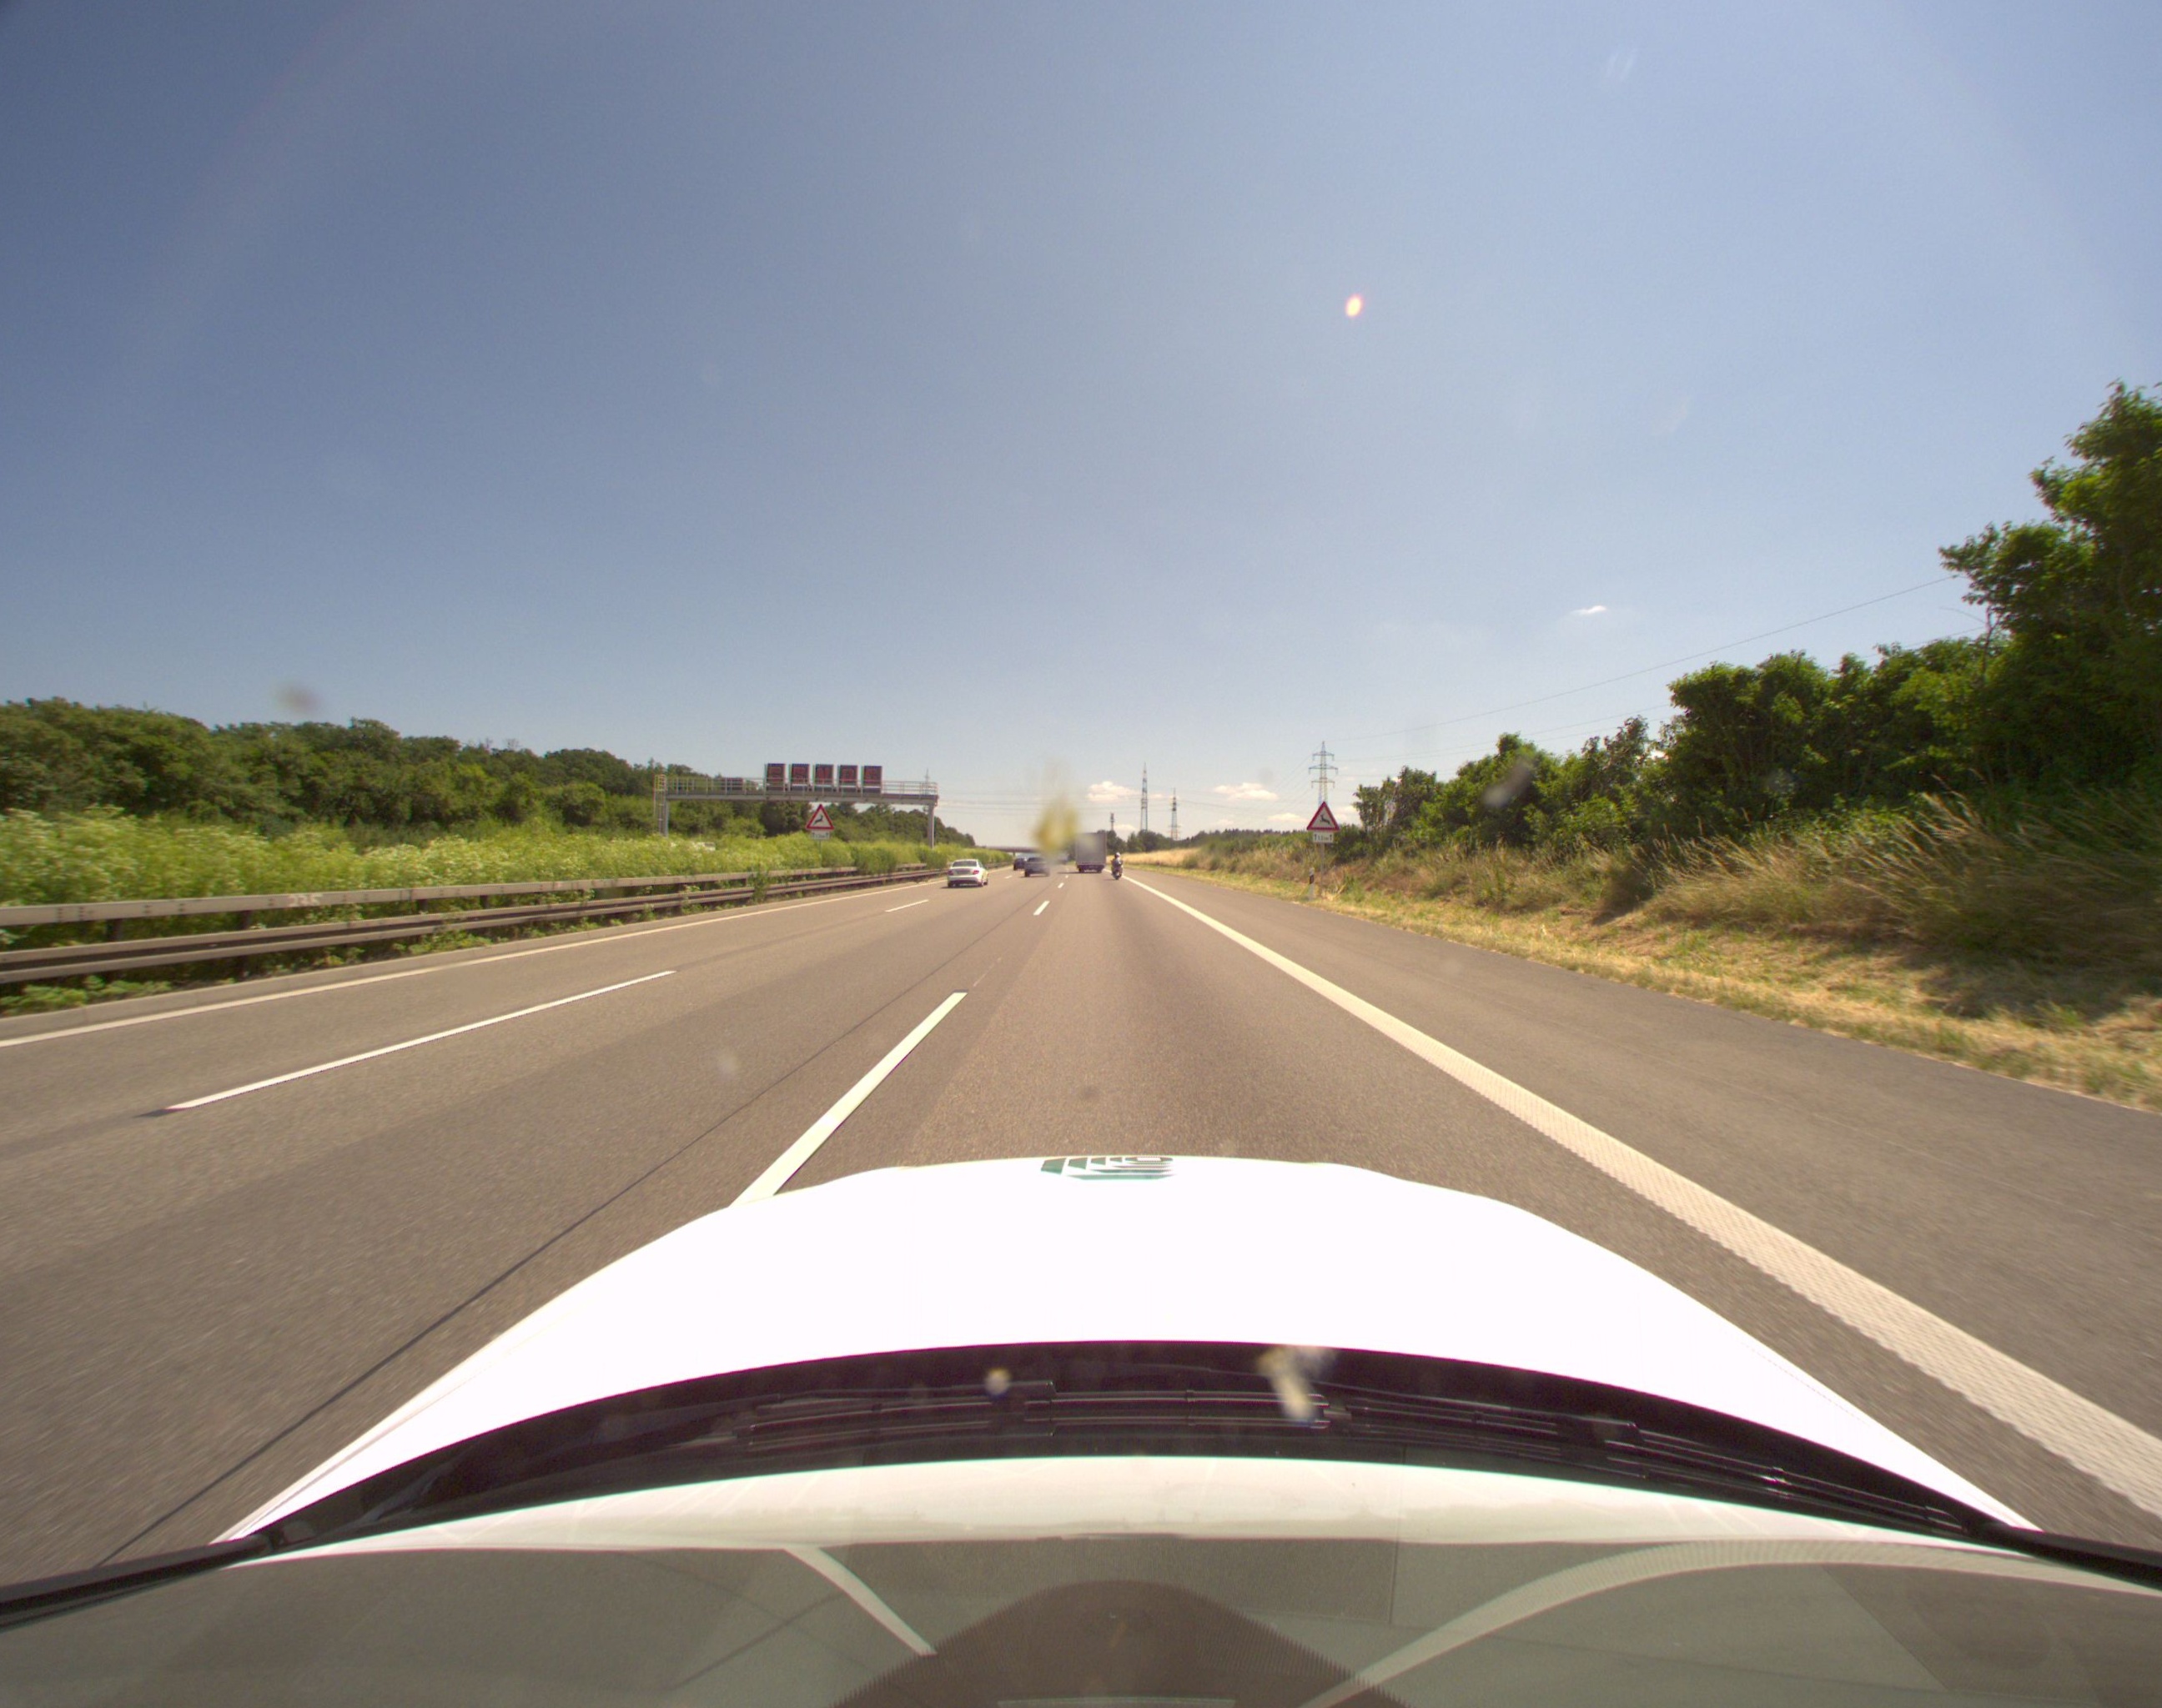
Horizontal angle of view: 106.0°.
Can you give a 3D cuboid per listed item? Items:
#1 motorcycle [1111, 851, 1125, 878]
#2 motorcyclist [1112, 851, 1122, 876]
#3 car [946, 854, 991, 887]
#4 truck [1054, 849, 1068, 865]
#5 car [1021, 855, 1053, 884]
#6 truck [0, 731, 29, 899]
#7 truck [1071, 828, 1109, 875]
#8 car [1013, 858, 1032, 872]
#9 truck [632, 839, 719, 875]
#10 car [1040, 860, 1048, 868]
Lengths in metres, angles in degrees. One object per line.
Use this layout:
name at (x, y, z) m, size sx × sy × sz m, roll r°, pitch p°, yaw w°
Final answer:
motorcycle at (2.283, 0.656, 50.441) m, size 0.807 × 1.607 × 1.782 m, roll -1°, pitch 0°, yaw 0°
motorcyclist at (2.241, 0.584, 50.355) m, size 0.570 × 1.479 × 0.700 m, roll -2°, pitch 0°, yaw 0°
car at (-5.774, 0.802, 42.124) m, size 1.815 × 1.540 × 3.912 m, roll -2°, pitch 0°, yaw -1°
truck at (-5.257, 0.779, 214.104) m, size 3.476 × 3.912 × 7.282 m, roll -1°, pitch 0°, yaw -3°
car at (-3.260, 1.145, 60.779) m, size 1.986 × 2.013 × 4.001 m, roll -2°, pitch 0°, yaw 1°
truck at (-24.422, -0.691, 9.210) m, size 2.795 × 3.548 × 16.840 m, roll -2°, pitch 0°, yaw 1°
truck at (0.804, -0.186, 73.886) m, size 3.210 × 3.924 × 9.060 m, roll -1°, pitch 0°, yaw 0°
car at (-6.693, 1.279, 93.103) m, size 1.750 × 1.429 × 4.001 m, roll -2°, pitch 0°, yaw 1°
truck at (-24.733, 0.156, 49.991) m, size 1.987 × 2.013 × 6.399 m, roll -2°, pitch 0°, yaw 1°
car at (-9.772, 2.578, 213.499) m, size 1.897 × 1.925 × 3.996 m, roll -2°, pitch 0°, yaw -3°
